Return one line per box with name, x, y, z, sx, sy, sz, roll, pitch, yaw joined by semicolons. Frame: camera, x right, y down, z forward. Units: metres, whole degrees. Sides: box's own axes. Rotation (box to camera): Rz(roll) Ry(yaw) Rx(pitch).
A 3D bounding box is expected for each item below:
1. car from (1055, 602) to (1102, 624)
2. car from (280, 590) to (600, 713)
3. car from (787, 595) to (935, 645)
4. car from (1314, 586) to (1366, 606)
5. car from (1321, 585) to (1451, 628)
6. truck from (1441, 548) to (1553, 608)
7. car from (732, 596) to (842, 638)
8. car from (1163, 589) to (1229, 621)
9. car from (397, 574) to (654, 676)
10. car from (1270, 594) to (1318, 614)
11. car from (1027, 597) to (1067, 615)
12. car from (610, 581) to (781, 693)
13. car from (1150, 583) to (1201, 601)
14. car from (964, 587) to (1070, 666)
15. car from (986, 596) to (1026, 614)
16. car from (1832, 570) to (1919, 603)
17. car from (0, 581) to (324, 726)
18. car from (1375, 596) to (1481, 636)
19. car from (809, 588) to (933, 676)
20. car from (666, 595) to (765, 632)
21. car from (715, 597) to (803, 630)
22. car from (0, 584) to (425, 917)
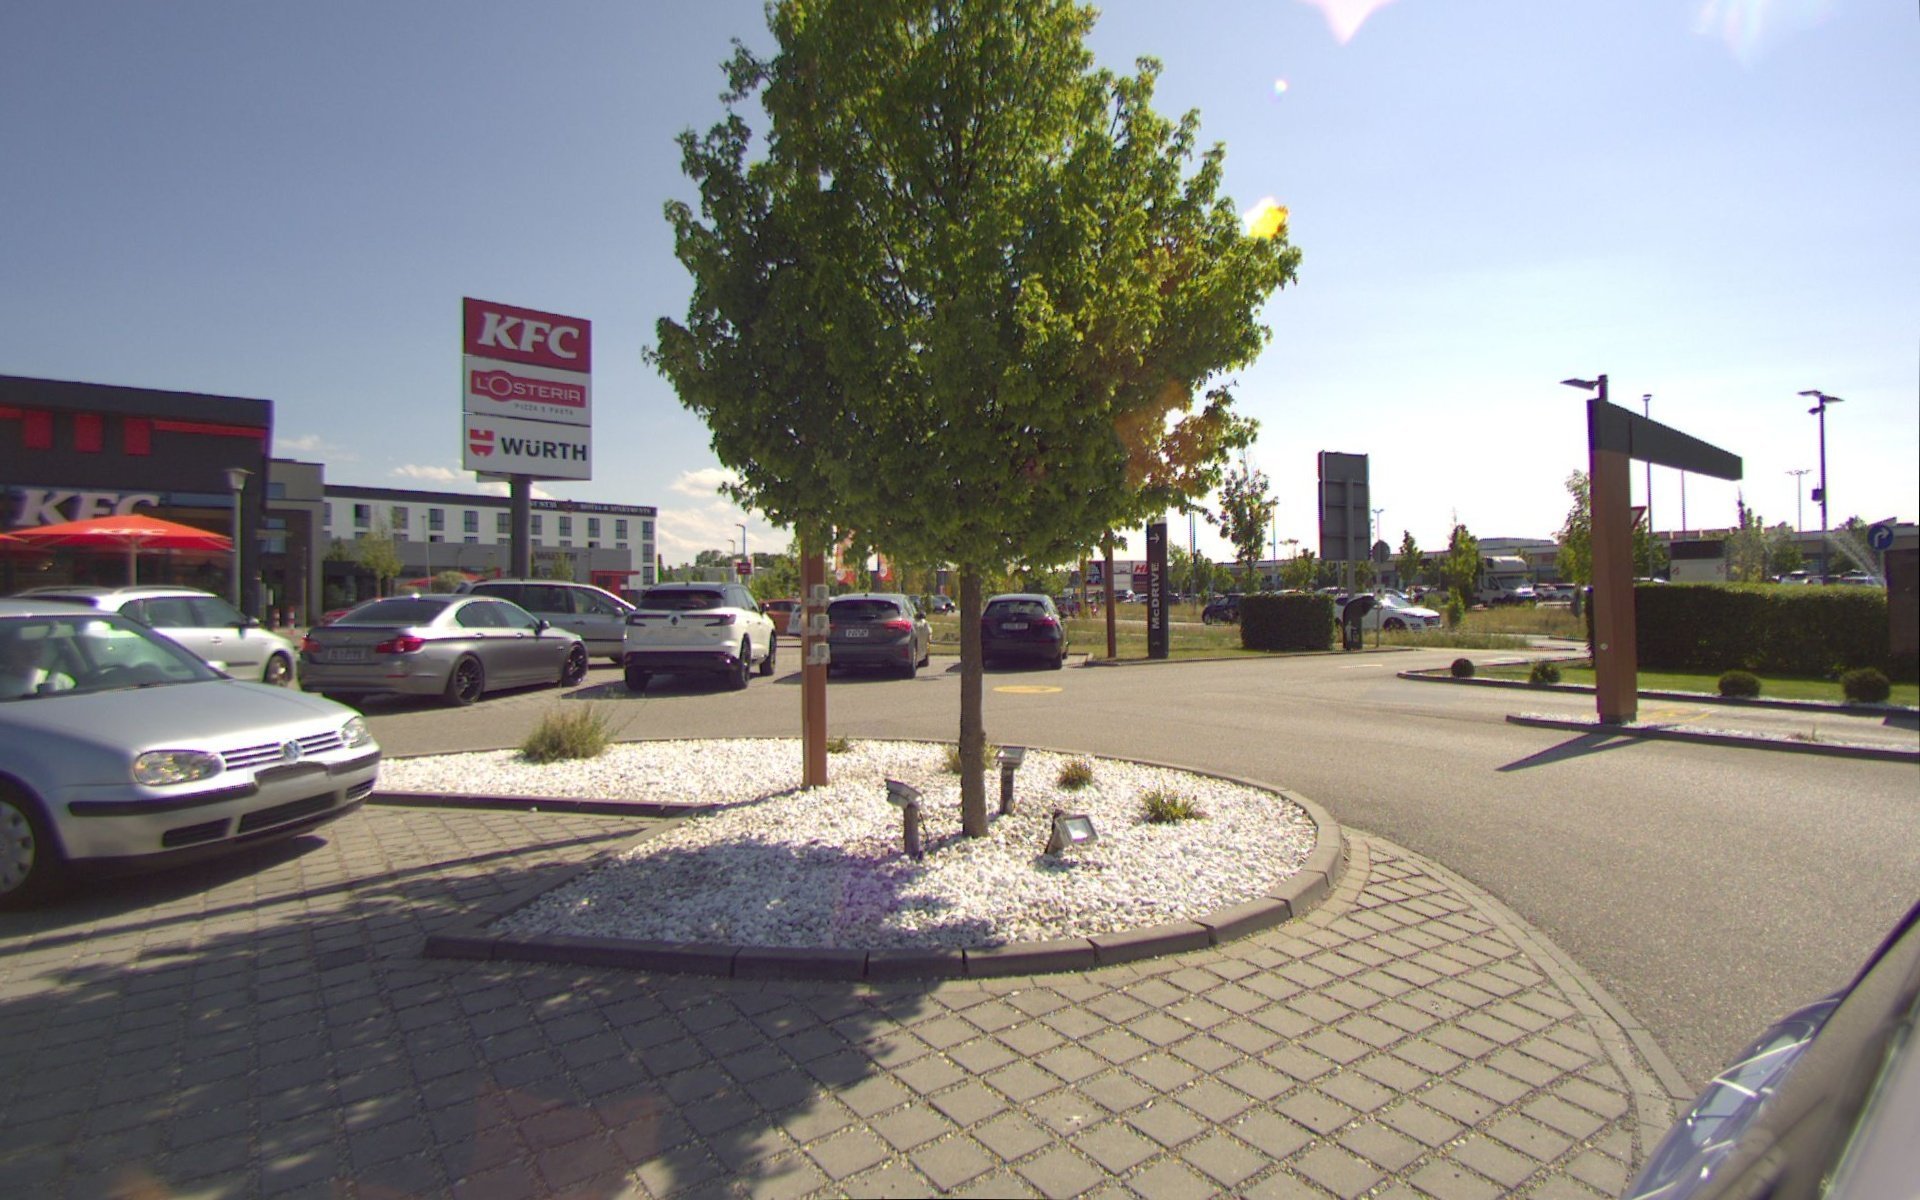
car;8.177;0.873;70.011;1.601;1.462;3.582;0;0;-23
car;-6.969;0.595;14.242;1.683;1.429;4.672;-1;0;7
car;-3.007;0.574;30.774;4.070;1.416;1.891;-1;0;-28
car;27.454;-0.276;73.178;3.155;1.402;1.543;-1;0;-8
car;15.313;0.227;36.621;1.699;1.440;4.330;0;0;-25
truck;32.104;-1.292;60.873;2.375;3.394;7.570;-1;1;-2
car;-6.393;0.597;37.426;3.679;1.472;1.689;-1;0;-28
car;12.680;0.259;54.546;1.534;1.616;3.454;0;0;-31
car;-8.400;0.413;19.673;4.284;1.772;2.072;-1;0;-35
car;26.033;0.308;78.944;3.155;1.576;1.543;-1;0;-8
car;7.237;0.462;84.592;1.724;1.482;4.007;0;0;-22
car;-4.143;0.520;16.486;1.772;1.576;4.055;-1;0;-1
car;18.752;-0.668;88.181;3.976;1.482;1.738;0;0;37
car;1.261;0.491;20.653;1.881;1.440;3.767;-1;0;8
car;3.768;0.411;83.718;1.724;1.482;4.007;0;0;-22
car;50.897;-0.750;55.713;4.173;1.750;1.896;-1;0;-4
car;-10.245;0.567;12.916;1.744;1.530;4.355;-1;0;-4
car;19.803;0.643;42.947;1.765;1.579;3.780;0;0;-28
car;-1.525;0.525;18.686;1.764;1.440;4.084;-1;0;2
car;-10.102;0.528;41.811;3.679;1.472;1.689;-1;0;-28
car;-9.354;0.599;47.176;3.679;1.472;1.689;-1;0;-28
car;-5.243;0.653;5.608;3.841;1.444;1.701;0;0;11
